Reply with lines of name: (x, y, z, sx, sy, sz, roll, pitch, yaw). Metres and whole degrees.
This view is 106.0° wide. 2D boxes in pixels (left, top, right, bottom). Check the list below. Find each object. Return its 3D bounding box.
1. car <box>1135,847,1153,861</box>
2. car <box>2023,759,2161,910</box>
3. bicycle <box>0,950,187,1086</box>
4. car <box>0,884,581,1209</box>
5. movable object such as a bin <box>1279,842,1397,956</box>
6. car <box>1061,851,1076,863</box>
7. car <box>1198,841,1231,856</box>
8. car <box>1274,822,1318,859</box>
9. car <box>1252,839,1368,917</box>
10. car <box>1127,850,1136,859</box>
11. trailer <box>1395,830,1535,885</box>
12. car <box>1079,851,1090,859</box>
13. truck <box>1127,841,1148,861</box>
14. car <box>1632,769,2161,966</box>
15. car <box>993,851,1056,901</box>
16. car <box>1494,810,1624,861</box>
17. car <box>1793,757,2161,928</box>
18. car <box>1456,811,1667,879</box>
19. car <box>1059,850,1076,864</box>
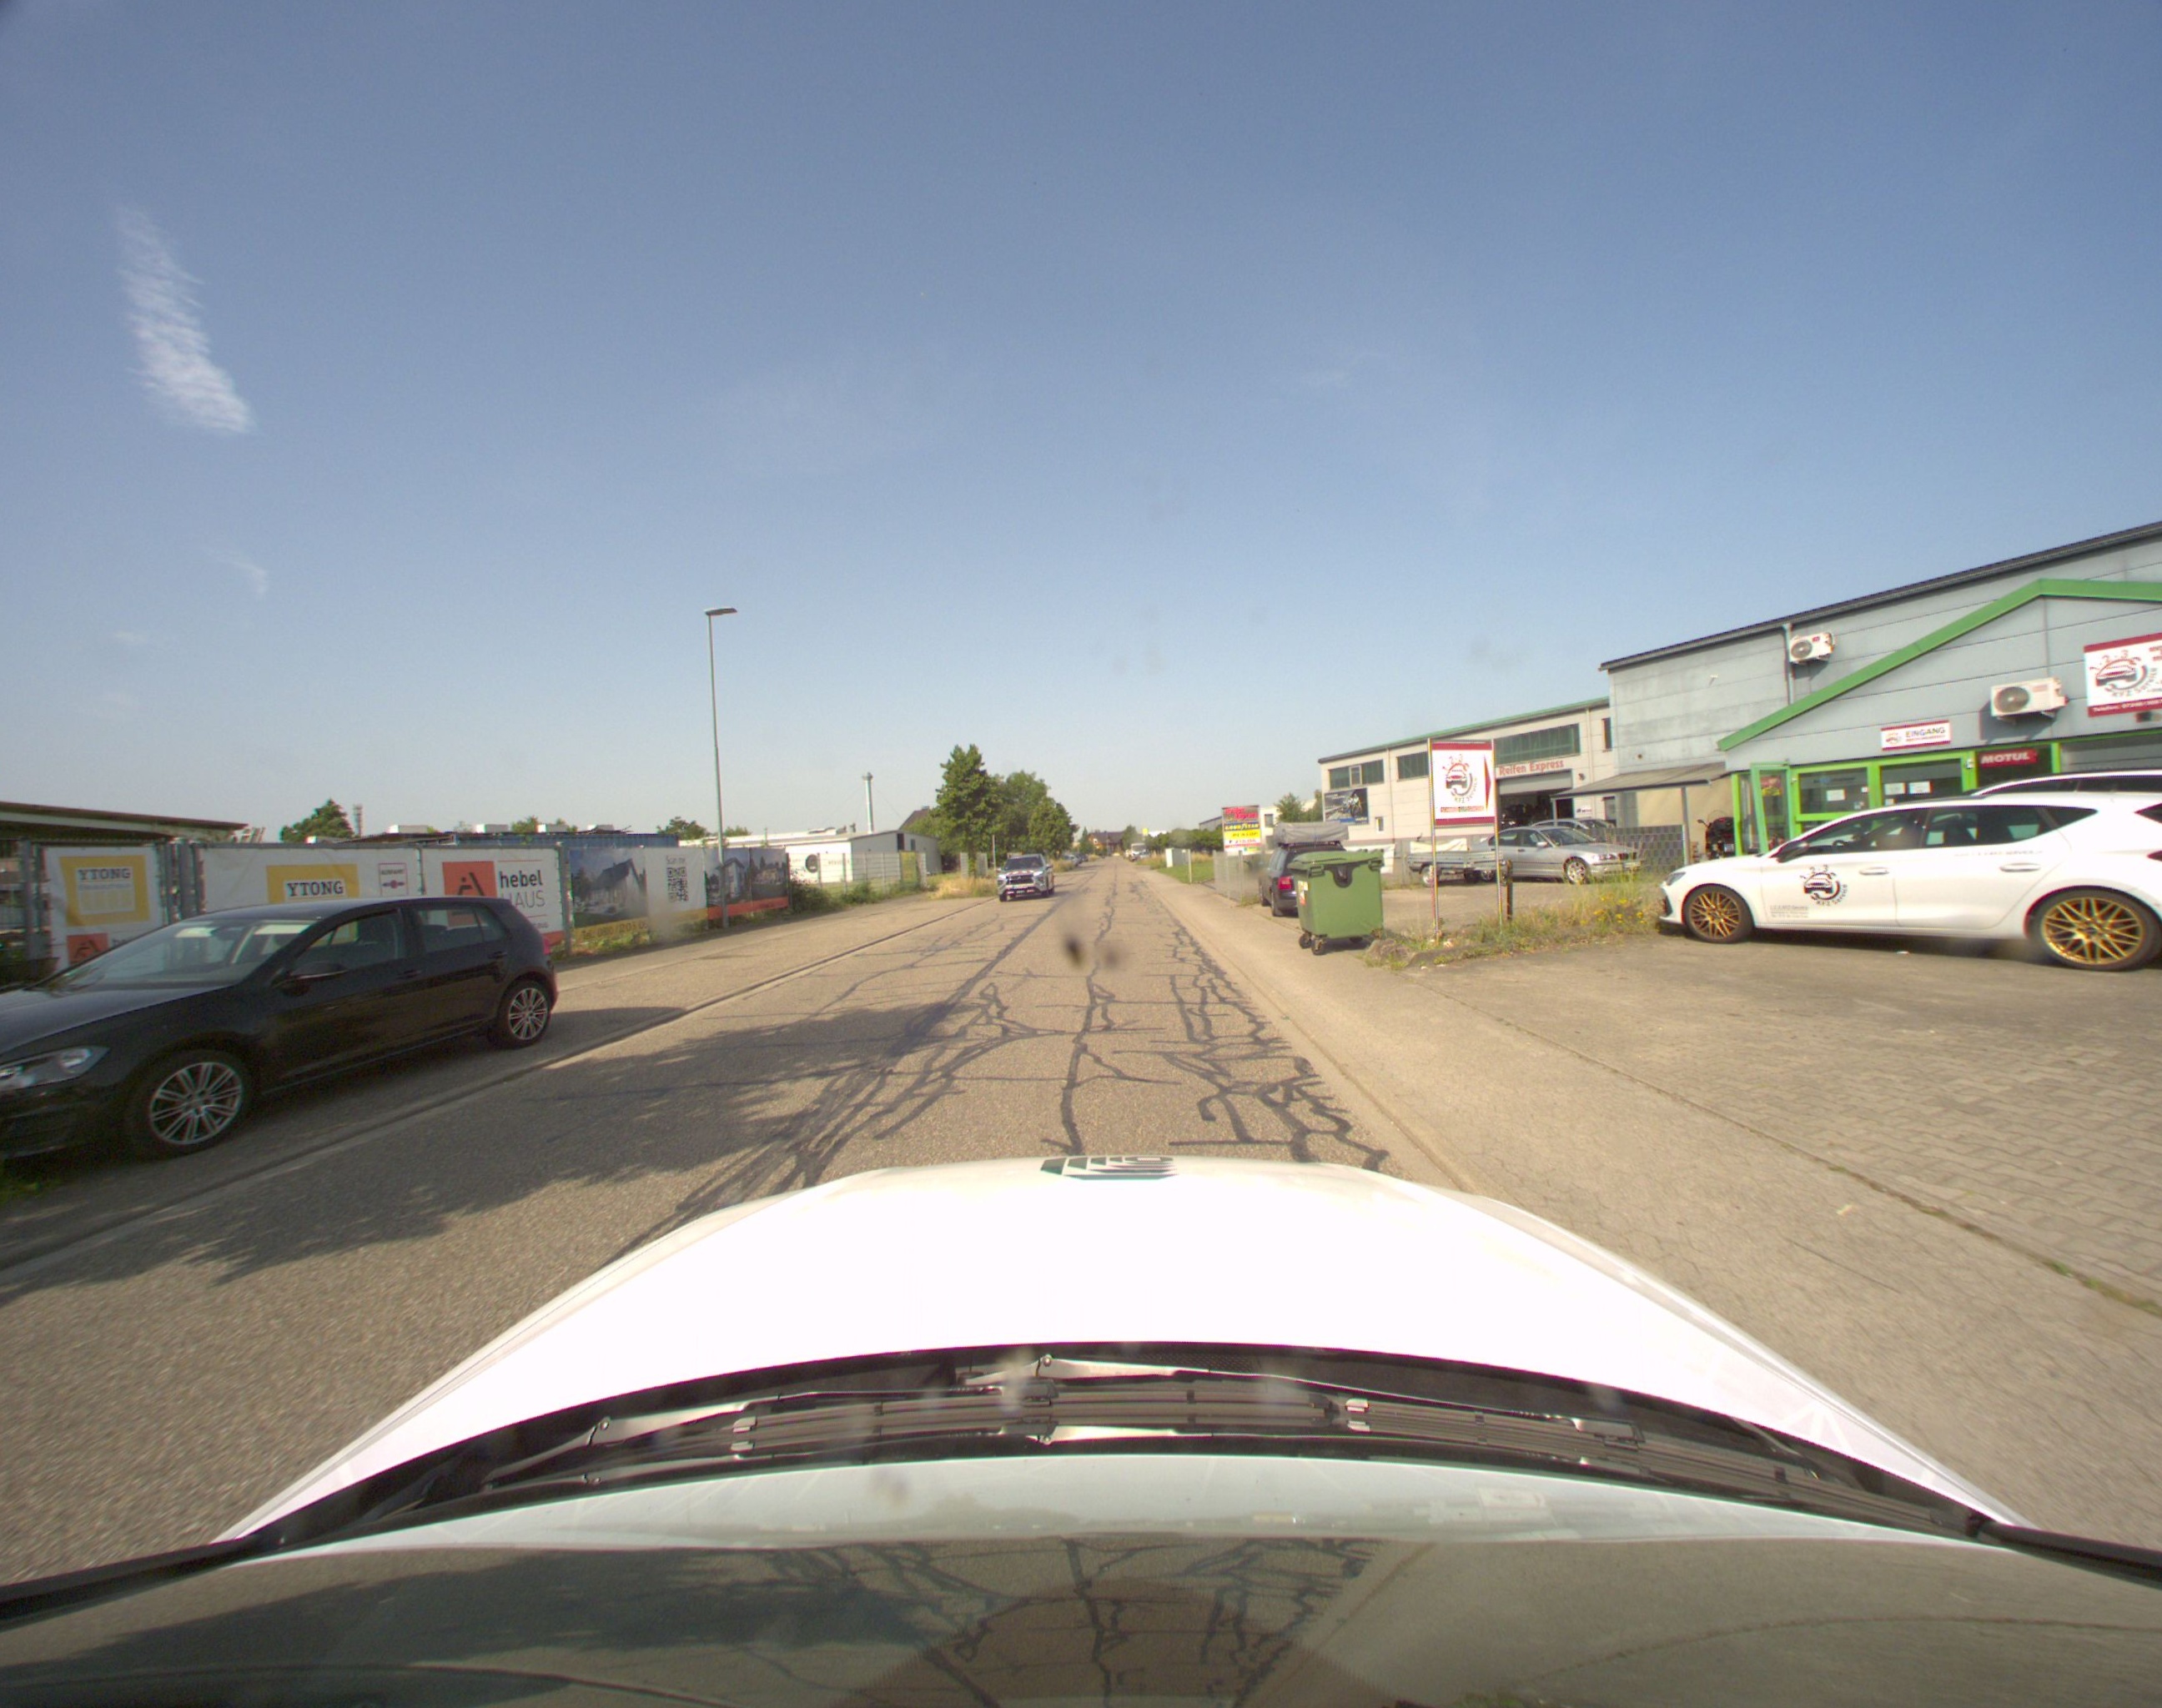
car: (7.350, 0.028, 95.312, 1.787, 1.517, 4.426, -4, 0, 2)
car: (13.262, -0.279, 9.088, 1.645, 1.720, 3.190, -3, 0, -22)
bicycle: (-9.395, 1.483, 7.015, 0.560, 0.973, 2.453, -4, 0, 2)
car: (-6.064, 1.097, 6.215, 1.680, 1.470, 4.097, -3, 0, 4)
movable object such as a bin: (3.465, 0.573, 11.156, 1.076, 1.353, 1.507, -6, 0, 3)
car: (-1.596, 0.425, 106.117, 1.677, 1.469, 4.256, -2, 0, 2)
car: (17.575, -0.732, 107.201, 4.559, 1.589, 1.667, -4, 0, -42)
car: (16.777, -1.018, 63.903, 1.966, 2.705, 5.883, -3, 0, 2)
car: (4.695, 0.429, 17.278, 1.664, 1.368, 4.402, -3, 0, 7)
car: (11.326, 0.095, 181.254, 1.830, 1.923, 3.759, -4, 0, 3)
trailer: (9.716, 0.094, 20.798, 1.497, 1.248, 2.954, -2, 0, -23)
car: (0.693, 0.227, 154.848, 1.793, 1.386, 3.640, -2, 0, 2)
truck: (8.143, -0.496, 118.908, 2.352, 2.681, 6.508, -4, 0, -1)
car: (8.129, 0.093, 8.014, 1.694, 1.466, 4.231, -3, 0, -22)
car: (-2.047, 0.768, 30.697, 1.805, 1.627, 4.251, -4, 0, 2)
car: (16.924, -0.606, 29.023, 1.639, 1.568, 3.781, -3, 0, -19)
car: (10.441, -0.138, 8.542, 1.722, 1.572, 4.103, -3, 0, -22)
car: (11.823, -0.168, 20.410, 1.646, 1.466, 4.428, -3, 0, -22)
car: (-1.588, 0.348, 95.738, 1.559, 1.538, 3.693, -4, 0, 5)
